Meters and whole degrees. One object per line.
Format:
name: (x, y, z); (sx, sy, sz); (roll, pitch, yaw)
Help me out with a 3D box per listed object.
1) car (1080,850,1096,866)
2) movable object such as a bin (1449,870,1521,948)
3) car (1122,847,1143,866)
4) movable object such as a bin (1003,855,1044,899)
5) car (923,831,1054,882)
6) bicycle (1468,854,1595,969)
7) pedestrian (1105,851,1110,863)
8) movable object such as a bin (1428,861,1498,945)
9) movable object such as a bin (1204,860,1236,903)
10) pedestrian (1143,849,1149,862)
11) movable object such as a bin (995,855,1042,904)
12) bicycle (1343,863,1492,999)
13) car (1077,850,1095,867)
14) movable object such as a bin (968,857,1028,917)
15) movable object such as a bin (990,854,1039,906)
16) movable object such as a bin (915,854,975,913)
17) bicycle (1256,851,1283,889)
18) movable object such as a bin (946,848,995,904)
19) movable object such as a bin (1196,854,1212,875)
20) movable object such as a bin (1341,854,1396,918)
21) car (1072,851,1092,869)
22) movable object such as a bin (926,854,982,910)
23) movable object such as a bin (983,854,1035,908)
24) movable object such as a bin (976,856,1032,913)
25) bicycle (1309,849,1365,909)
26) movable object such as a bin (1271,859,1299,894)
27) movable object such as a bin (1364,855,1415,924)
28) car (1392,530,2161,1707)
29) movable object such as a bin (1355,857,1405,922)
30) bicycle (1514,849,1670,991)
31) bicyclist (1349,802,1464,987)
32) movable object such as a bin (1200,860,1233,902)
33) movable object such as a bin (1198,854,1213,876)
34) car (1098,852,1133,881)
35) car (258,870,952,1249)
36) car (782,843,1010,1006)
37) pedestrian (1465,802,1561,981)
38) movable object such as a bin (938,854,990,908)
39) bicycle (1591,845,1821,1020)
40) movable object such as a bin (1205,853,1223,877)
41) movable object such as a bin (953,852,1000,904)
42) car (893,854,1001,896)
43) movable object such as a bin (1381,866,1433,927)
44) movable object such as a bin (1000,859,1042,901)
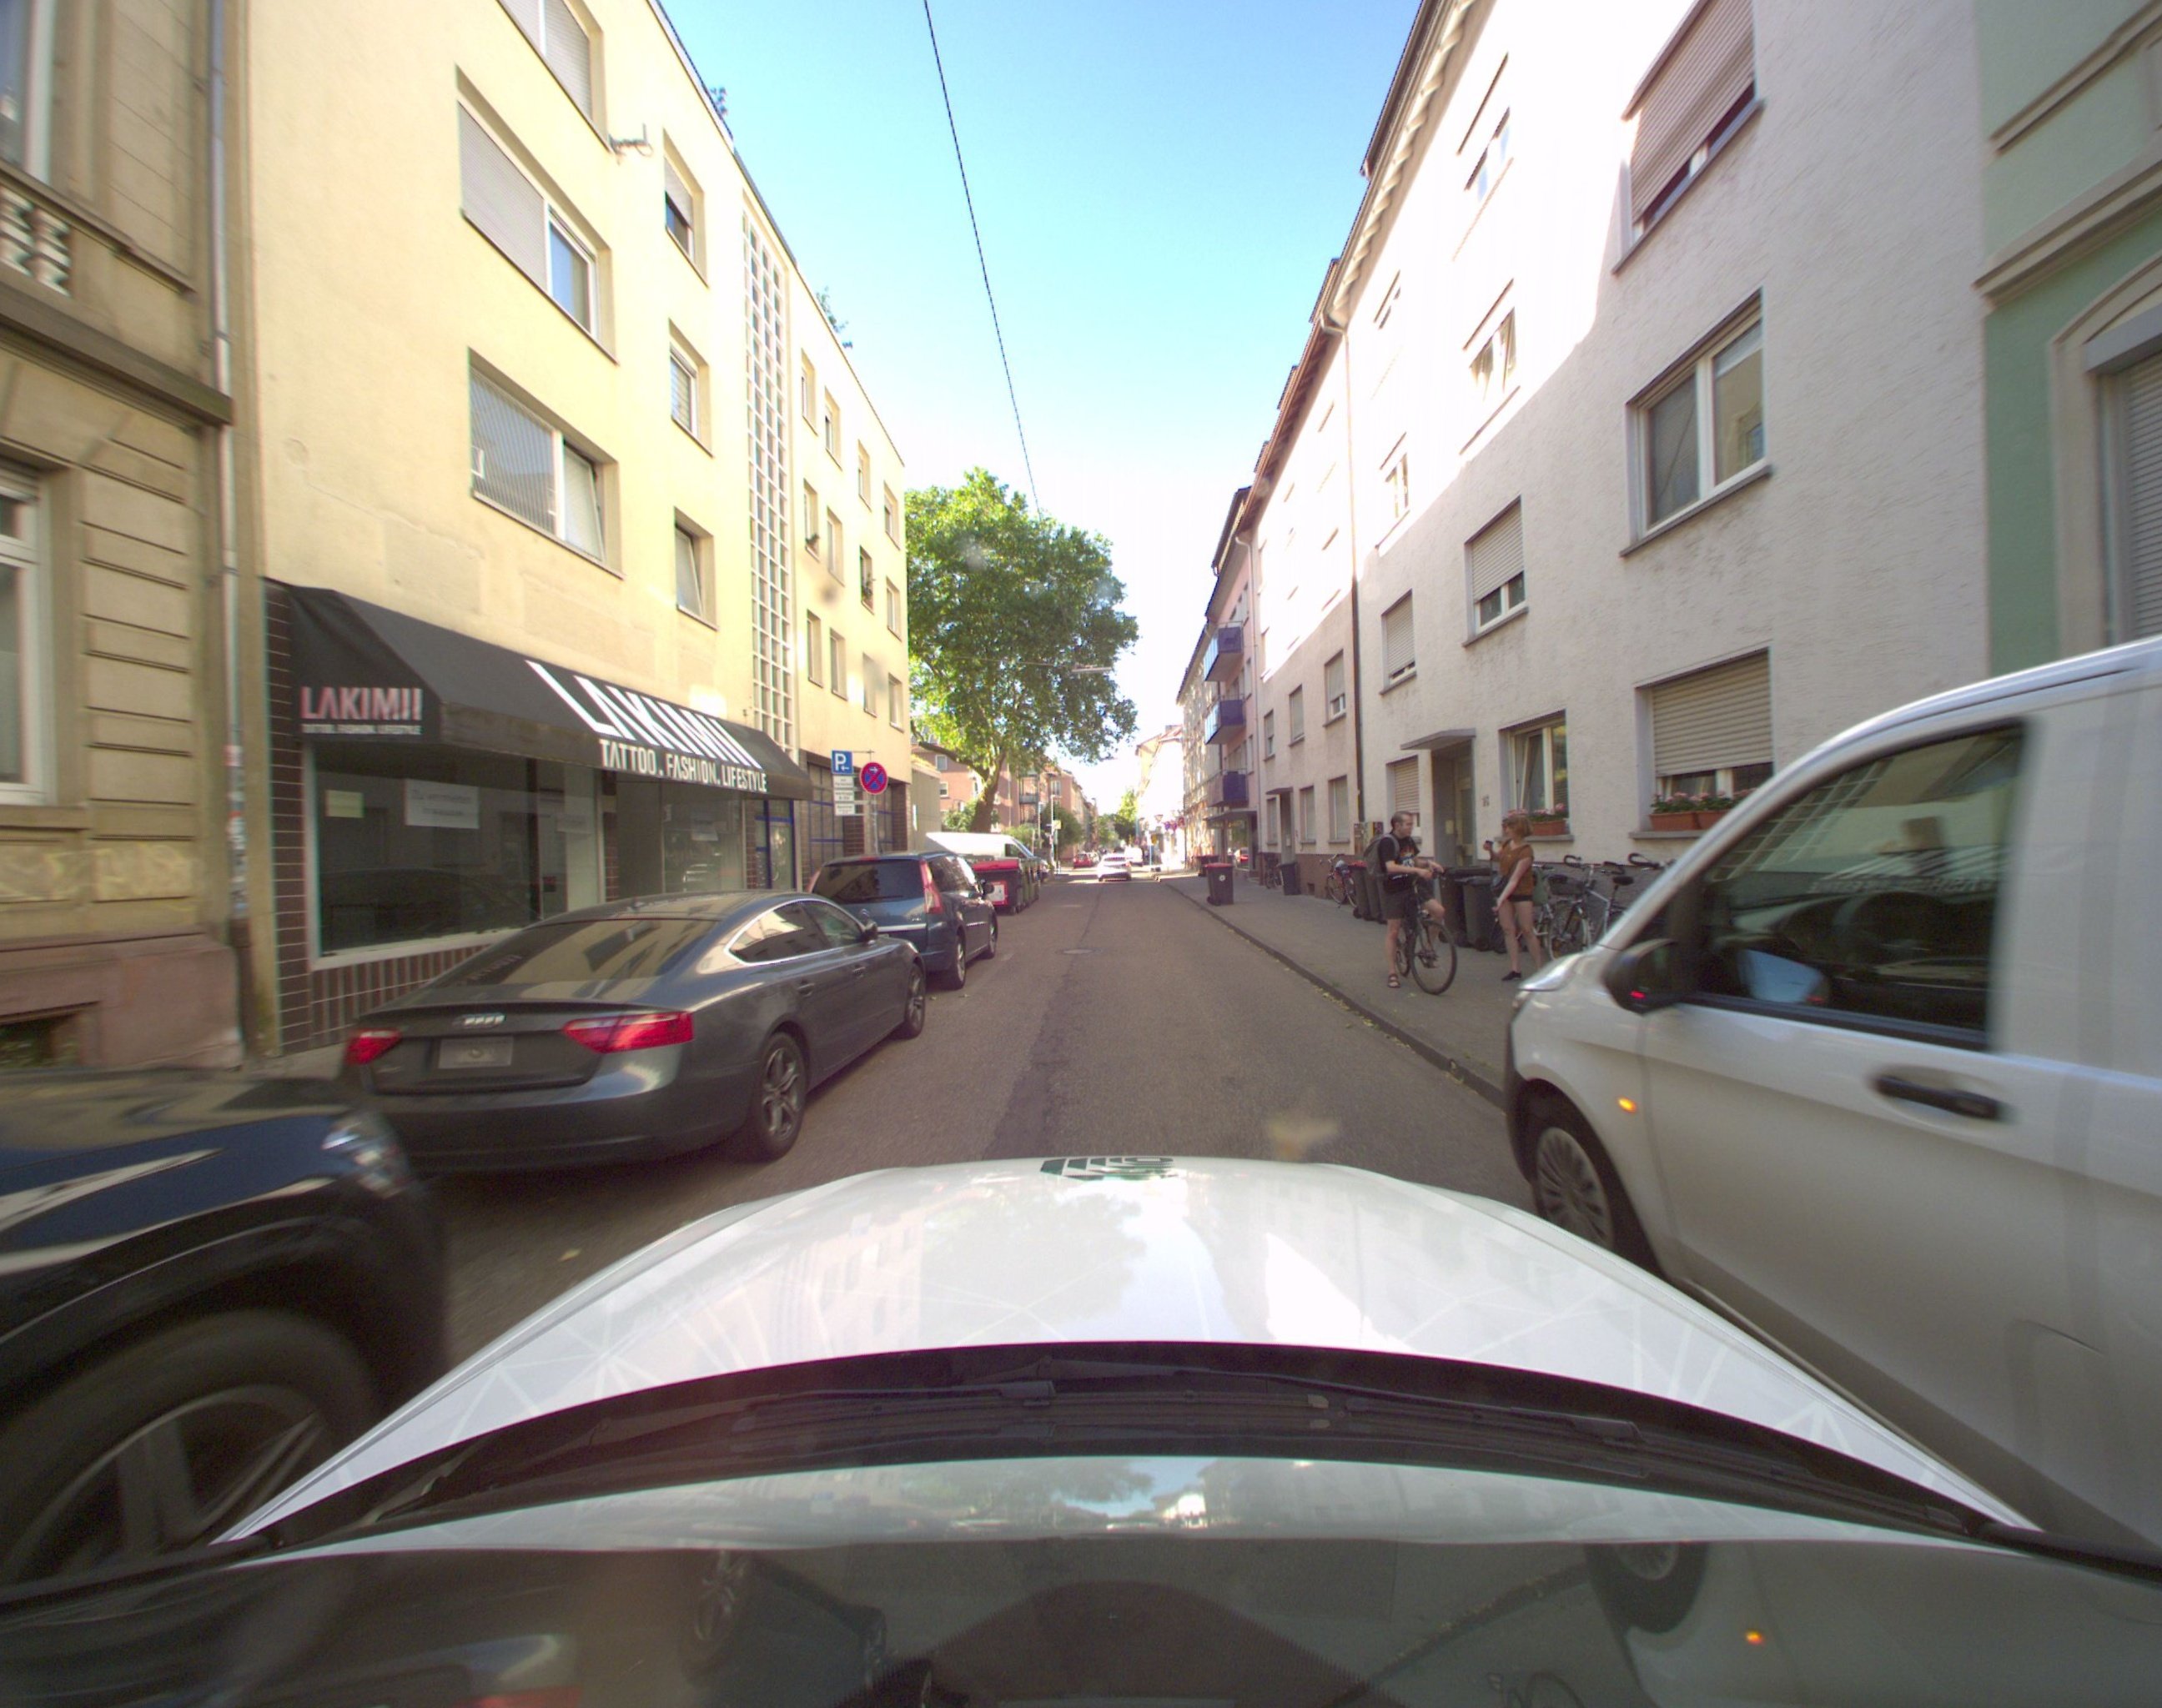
car: (0.792, 0.458, 91.915); (1.629, 1.656, 3.788); (-2, -1, 3)
movable object such as a bin: (5.177, 0.696, 10.460); (0.575, 0.924, 0.608); (-4, 0, 2)
car: (5.297, 0.234, 83.857); (1.936, 1.948, 4.078); (-1, 0, 0)
movable object such as a bin: (-1.951, 0.764, 27.916); (1.296, 1.451, 1.117); (-1, -1, -1)
car: (-4.961, 0.118, 44.183); (6.709, 2.555, 2.148); (1, -1, 4)
bicycle: (5.015, 0.590, 9.196); (0.565, 1.153, 1.872); (-2, -1, 7)
pedestrian: (4.068, 0.431, 124.267); (0.644, 1.797, 0.640); (-2, -1, 3)
movable object such as a bin: (5.180, 0.652, 11.070); (0.613, 1.062, 0.603); (-3, 0, 2)
movable object such as a bin: (3.591, 0.699, 21.068); (0.729, 1.081, 0.704); (-2, -1, 3)
pedestrian: (8.842, 0.224, 110.899); (0.615, 1.733, 0.560); (-2, -1, 1)
movable object such as a bin: (-1.972, 0.784, 25.724); (1.329, 1.491, 1.082); (-1, -1, 2)
bicycle: (3.401, 0.717, 8.451); (0.661, 1.136, 1.988); (-5, 1, 1)
car: (0.549, 0.501, 86.402); (1.713, 1.682, 3.729); (-2, 0, 3)
movable object such as a bin: (-2.160, 0.843, 21.403); (1.314, 1.450, 1.187); (-3, -1, 2)
movable object such as a bin: (-2.002, 0.769, 24.656); (1.338, 1.499, 1.018); (-1, -1, 2)
movable object such as a bin: (-3.559, 0.758, 21.455); (1.291, 1.498, 1.179); (-1, -1, 2)
bicycle: (5.877, 0.479, 25.421); (0.451, 1.134, 1.922); (-4, 0, 4)
movable object such as a bin: (-3.332, 0.660, 24.690); (1.289, 1.620, 1.018); (-1, -1, 2)
movable object such as a bin: (6.315, 0.539, 41.813); (0.742, 1.086, 0.635); (-2, -1, 4)
movable object such as a bin: (5.290, 0.575, 15.015); (0.736, 1.097, 0.640); (-4, -1, 3)
car: (0.110, 0.557, 80.812); (1.763, 1.588, 3.728); (-2, 1, 2)
movable object such as a bin: (-3.499, 0.765, 22.612); (1.300, 1.499, 1.157); (-1, -1, 2)
movable object such as a bin: (-2.068, 0.768, 23.621); (1.343, 1.487, 1.003); (-1, -1, 2)
movable object such as a bin: (-2.104, 0.828, 22.576); (1.329, 1.484, 1.094); (-3, -1, 2)
bicycle: (5.554, 0.511, 17.804); (0.534, 1.170, 2.077); (-6, 0, 2)
movable object such as a bin: (5.672, 0.619, 22.684); (0.595, 0.951, 0.683); (-2, -1, 3)
movable object such as a bin: (5.239, 0.596, 13.859); (0.625, 1.122, 0.569); (-2, -1, 3)
car: (2.438, 0.434, 1.052); (1.976, 1.883, 5.603); (-5, 0, 2)
movable object such as a bin: (5.279, 0.620, 14.420); (0.654, 1.105, 0.593); (-2, 0, 3)
bicycle: (4.977, 0.571, 8.107); (0.435, 1.206, 2.272); (-2, -1, 9)
bicyclist: (3.348, 0.393, 8.446); (0.757, 1.770, 0.822); (-4, 1, 0)
movable object such as a bin: (3.615, 0.712, 21.781); (0.764, 1.086, 0.693); (-2, -1, 3)
movable object such as a bin: (6.286, 0.542, 41.181); (0.698, 1.073, 0.597); (-2, -1, 4)
car: (1.888, 0.673, 45.325); (1.817, 1.514, 3.825); (-2, 0, 2)
car: (-2.365, 0.899, 5.772); (1.838, 1.417, 4.821); (-3, -1, 3)
car: (-2.210, 0.756, 11.154); (1.775, 1.666, 4.673); (-3, 0, 3)
pedestrian: (4.329, 0.367, 8.202); (0.650, 1.711, 0.689); (-2, -1, 14)
movable object such as a bin: (-3.401, 0.773, 23.687); (1.297, 1.522, 1.018); (-1, -1, 2)
bicycle: (5.036, 0.557, 6.768); (0.403, 1.206, 2.163); (-2, -1, 6)
movable object such as a bin: (6.405, 0.532, 39.230); (0.727, 1.104, 0.693); (-2, -1, 0)
movable object such as a bin: (-3.299, 0.745, 25.754); (1.283, 1.604, 1.082); (-1, -1, 2)
car: (-5.155, 0.790, 31.679); (3.861, 1.505, 1.827); (-1, -1, 1)
movable object such as a bin: (5.278, 0.680, 13.223); (0.603, 0.934, 0.605); (-2, 0, 3)
movable object such as a bin: (-1.968, 0.847, 26.816); (1.236, 1.322, 1.046); (-1, -1, 2)
